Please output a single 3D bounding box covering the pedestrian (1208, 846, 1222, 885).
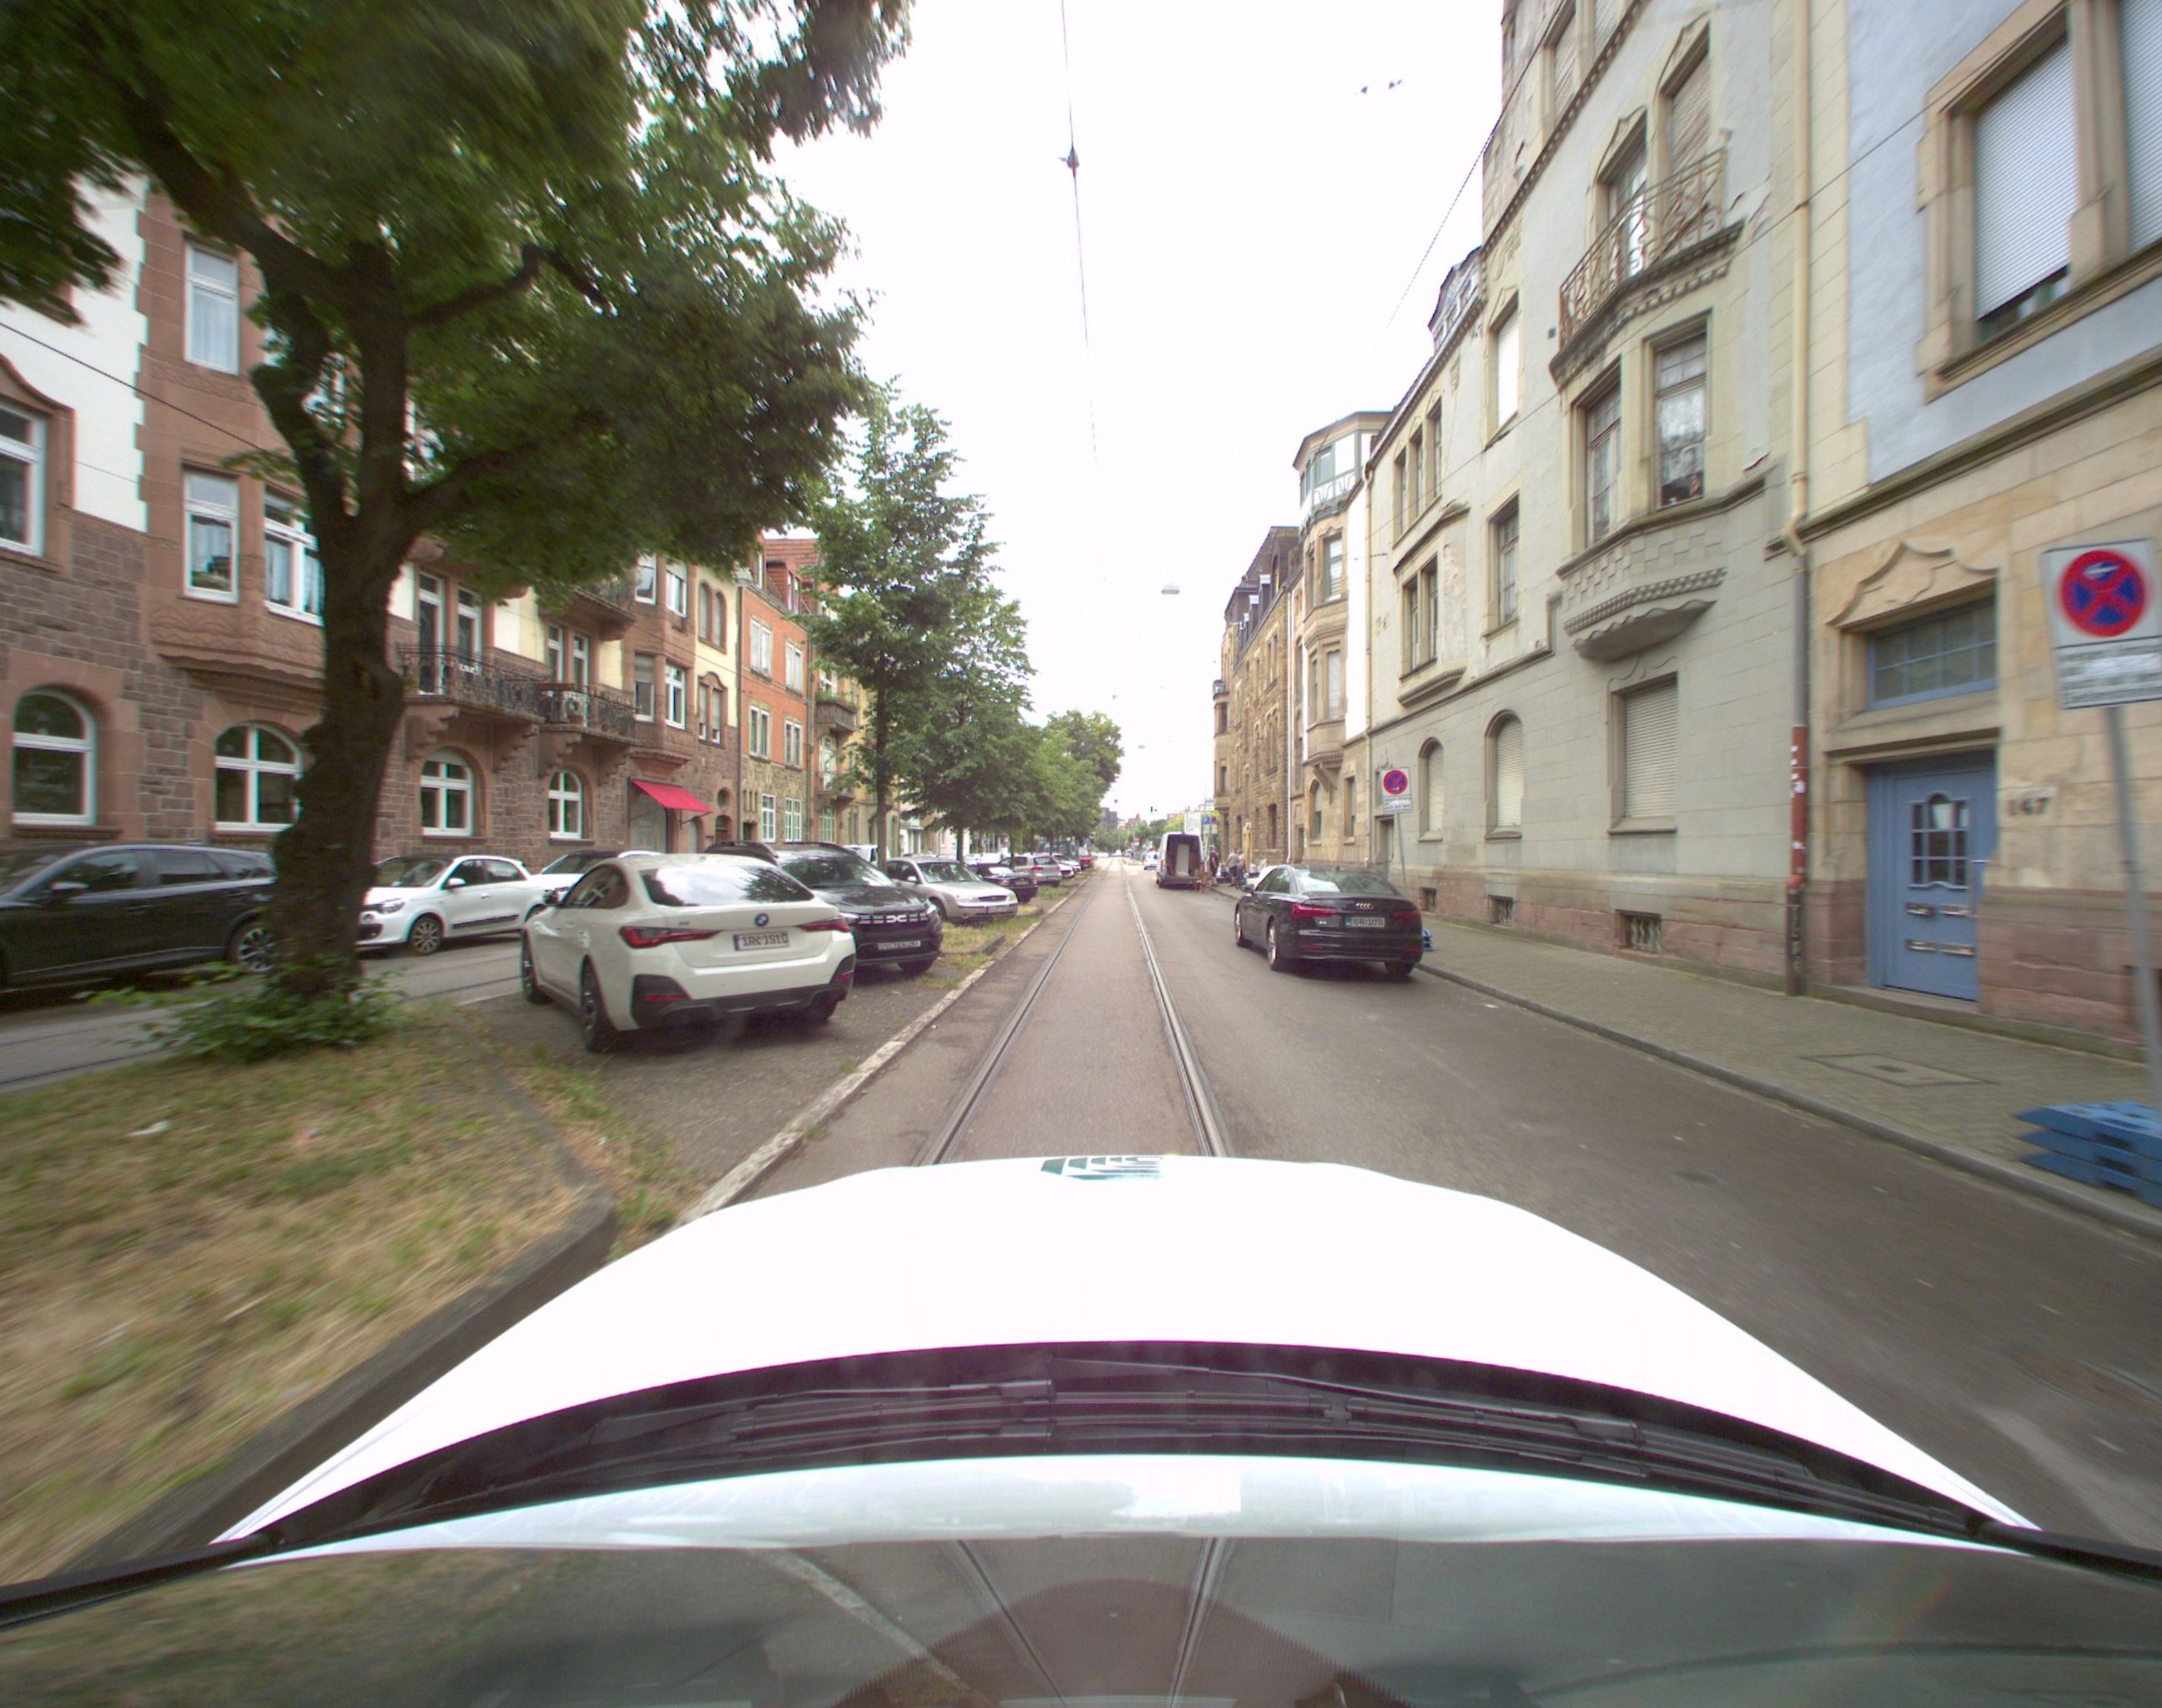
[{"bbox_3d":[6.308,0.543,38.416,0.496,1.815,0.804,-2,0,4],"label":"pedestrian"}]

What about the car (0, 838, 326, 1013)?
[{"bbox_3d":[-10.946,0.671,8.619,1.762,1.628,4.322,0,0,2],"label":"car"}]

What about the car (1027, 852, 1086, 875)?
[{"bbox_3d":[-1.613,0.596,52.955,3.815,1.463,1.699,0,0,44],"label":"car"}]

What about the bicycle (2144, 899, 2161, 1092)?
[{"bbox_3d":[6.639,0.852,3.894,0.609,1.126,1.917,3,0,2],"label":"bicycle"}]

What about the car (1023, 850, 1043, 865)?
[{"bbox_3d":[-4.871,0.377,82.645,1.638,1.504,3.885,0,0,2],"label":"car"}]

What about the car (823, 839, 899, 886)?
[{"bbox_3d":[-9.749,0.374,36.558,1.874,1.952,5.096,0,0,2],"label":"car"}]

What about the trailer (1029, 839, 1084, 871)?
[{"bbox_3d":[-1.846,0.086,60.950,3.624,2.344,1.943,0,0,35],"label":"trailer"}]

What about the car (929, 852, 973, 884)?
[{"bbox_3d":[-6.481,0.691,40.823,1.598,1.514,2.893,0,0,2],"label":"car"}]

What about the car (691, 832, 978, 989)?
[{"bbox_3d":[-3.409,0.594,10.699,1.775,1.633,4.477,1,-1,-44],"label":"car"}]

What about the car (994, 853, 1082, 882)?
[{"bbox_3d":[-2.323,0.650,42.836,4.629,1.435,1.910,0,0,42],"label":"car"}]

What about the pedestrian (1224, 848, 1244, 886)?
[{"bbox_3d":[7.053,0.603,37.646,0.706,1.700,0.489,-2,0,-25],"label":"pedestrian"}]

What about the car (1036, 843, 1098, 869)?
[{"bbox_3d":[-1.130,0.172,63.836,4.707,1.974,1.972,0,0,41],"label":"car"}]

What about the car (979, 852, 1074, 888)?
[{"bbox_3d":[-2.393,0.646,35.030,4.066,1.484,1.808,0,0,43],"label":"car"}]

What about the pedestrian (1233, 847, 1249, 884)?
[{"bbox_3d":[7.568,0.558,38.460,0.507,1.717,0.580,-2,0,-8],"label":"pedestrian"}]

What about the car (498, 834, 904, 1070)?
[{"bbox_3d":[-3.715,0.628,7.477,2.047,1.490,4.486,1,-1,-44],"label":"car"}]

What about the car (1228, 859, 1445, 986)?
[{"bbox_3d":[3.483,0.820,12.213,1.794,1.438,5.198,0,0,2],"label":"car"}]

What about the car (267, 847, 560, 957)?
[{"bbox_3d":[-10.662,0.693,13.413,1.655,1.559,3.724,0,0,2],"label":"car"}]

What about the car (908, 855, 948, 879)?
[{"bbox_3d":[-9.446,0.795,50.595,1.629,1.443,3.924,0,0,1],"label":"car"}]

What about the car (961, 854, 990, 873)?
[{"bbox_3d":[-8.438,0.716,65.585,1.629,1.443,4.571,0,0,1],"label":"car"}]

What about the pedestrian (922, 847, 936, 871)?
[{"bbox_3d":[-11.139,0.342,59.652,0.794,1.766,0.900,0,0,1],"label":"pedestrian"}]

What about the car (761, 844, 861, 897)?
[{"bbox_3d":[-9.778,0.579,29.948,1.807,1.781,5.119,0,0,2],"label":"car"}]

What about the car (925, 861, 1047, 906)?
[{"bbox_3d":[-2.955,0.835,24.772,1.678,1.202,3.914,0,0,-44],"label":"car"}]

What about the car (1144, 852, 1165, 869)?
[{"bbox_3d":[6.647,0.589,73.724,1.773,1.472,4.018,0,0,7],"label":"car"}]

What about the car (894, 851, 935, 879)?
[{"bbox_3d":[-9.511,0.634,46.711,1.629,1.550,2.951,0,0,1],"label":"car"}]

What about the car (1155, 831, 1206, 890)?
[{"bbox_3d":[4.728,0.267,39.659,2.004,2.549,7.023,2,0,3],"label":"car"}]

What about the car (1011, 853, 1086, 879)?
[{"bbox_3d":[-1.929,0.665,47.072,4.286,1.435,1.910,0,0,44],"label":"car"}]

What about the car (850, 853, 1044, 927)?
[{"bbox_3d":[-3.016,0.682,17.600,1.768,1.368,4.610,0,0,-45],"label":"car"}]

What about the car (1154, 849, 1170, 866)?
[{"bbox_3d":[9.831,0.416,99.060,1.774,1.962,4.387,0,0,4],"label":"car"}]

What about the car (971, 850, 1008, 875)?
[{"bbox_3d":[-6.119,0.564,54.840,1.798,1.579,4.548,0,0,2],"label":"car"}]

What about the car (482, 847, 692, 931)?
[{"bbox_3d":[-10.644,0.692,18.028,1.734,1.626,4.556,0,0,2],"label":"car"}]

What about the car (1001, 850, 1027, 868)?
[{"bbox_3d":[-5.591,0.406,68.091,1.638,1.504,4.624,0,0,2],"label":"car"}]
